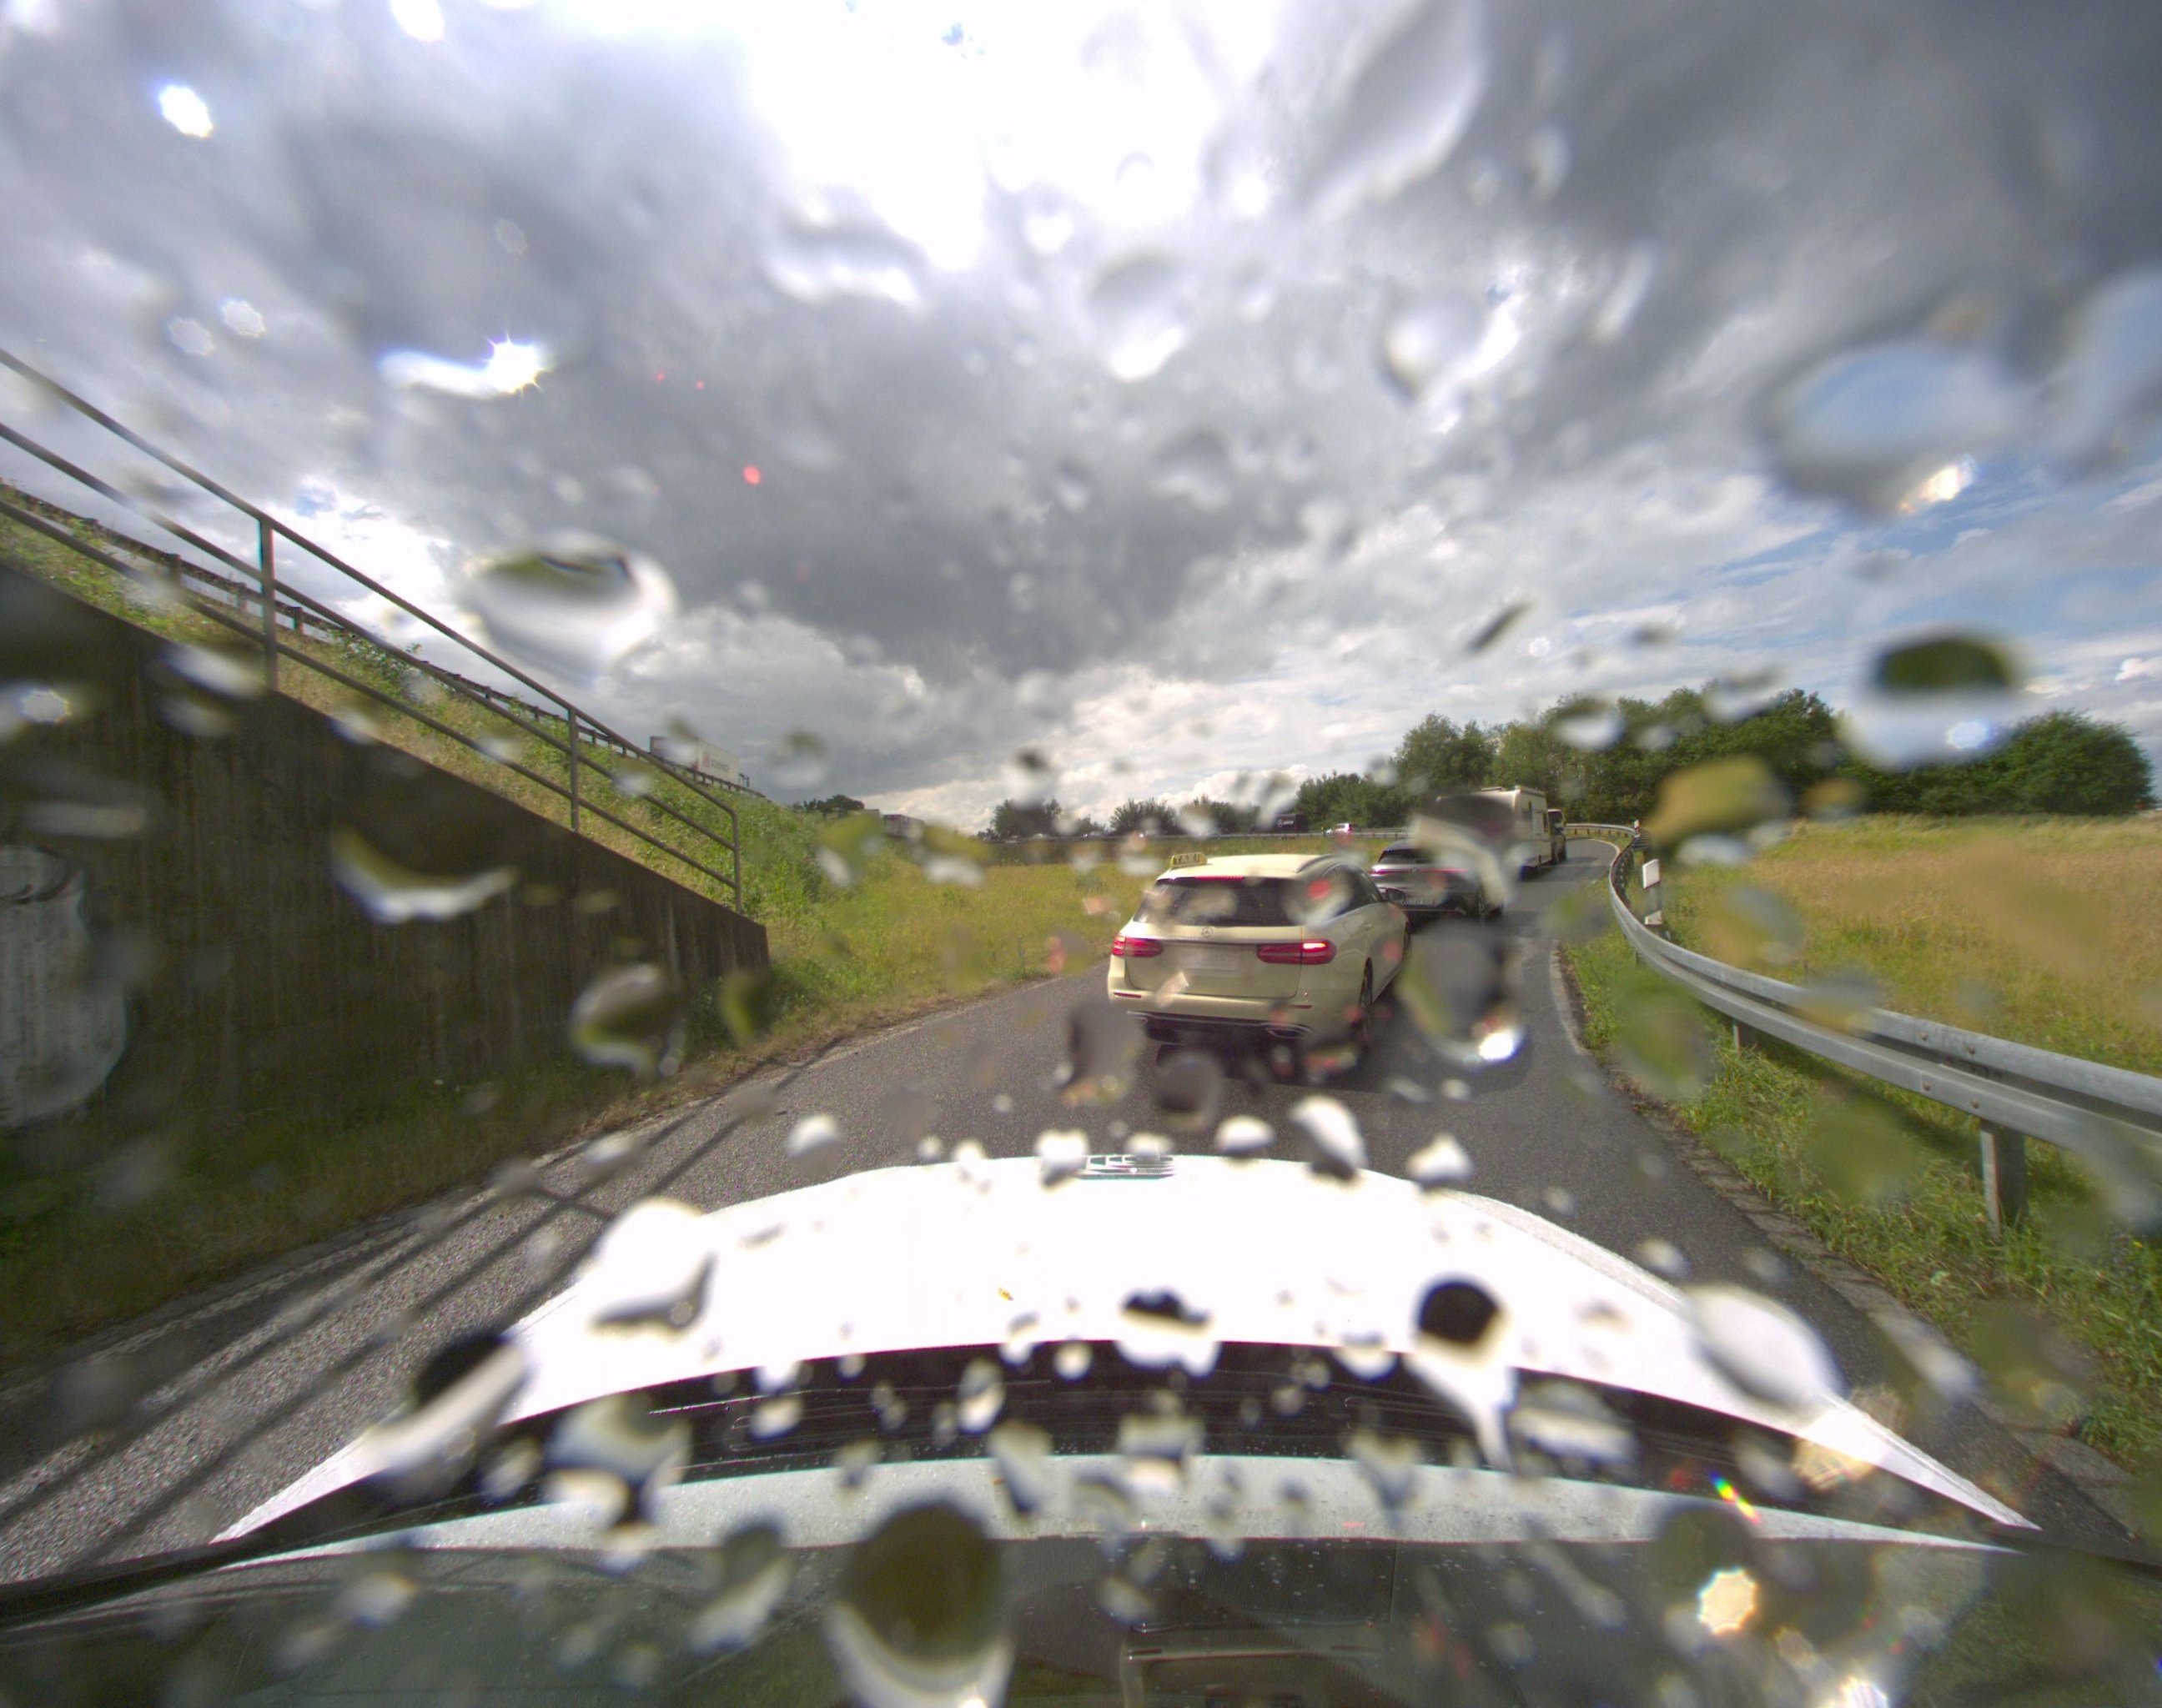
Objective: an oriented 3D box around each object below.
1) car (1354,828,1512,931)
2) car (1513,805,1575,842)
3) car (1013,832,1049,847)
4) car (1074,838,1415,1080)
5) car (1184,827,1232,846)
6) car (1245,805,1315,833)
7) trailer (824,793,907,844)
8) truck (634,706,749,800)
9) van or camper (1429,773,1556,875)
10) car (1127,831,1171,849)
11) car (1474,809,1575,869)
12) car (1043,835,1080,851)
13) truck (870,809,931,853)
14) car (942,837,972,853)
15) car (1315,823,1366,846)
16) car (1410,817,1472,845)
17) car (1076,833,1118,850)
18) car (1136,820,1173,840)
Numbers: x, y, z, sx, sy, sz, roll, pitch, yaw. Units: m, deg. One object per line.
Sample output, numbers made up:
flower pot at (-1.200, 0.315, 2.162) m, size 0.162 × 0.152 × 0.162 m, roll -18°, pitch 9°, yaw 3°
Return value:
car at (6.250, 0.402, 14.213) m, size 1.701 × 1.525 × 4.026 m, roll -4°, pitch -2°, yaw 34°
car at (26.706, -1.716, 47.175) m, size 1.978 × 1.861 × 5.079 m, roll -3°, pitch -1°, yaw 17°
car at (-7.104, -2.094, 116.021) m, size 4.992 × 1.861 × 2.013 m, roll -4°, pitch -1°, yaw 40°
car at (1.876, 0.644, 7.642) m, size 1.898 × 1.507 × 4.624 m, roll -1°, pitch 1°, yaw 27°
car at (14.716, -1.996, 94.488) m, size 4.992 × 1.861 × 2.013 m, roll -4°, pitch -1°, yaw 40°
car at (21.251, -3.687, 87.362) m, size 2.888 × 2.595 × 6.906 m, roll -3°, pitch 1°, yaw -37°
trailer at (-24.084, -3.770, 92.861) m, size 4.401 × 3.956 × 20.203 m, roll -2°, pitch -2°, yaw -1°
truck at (-22.490, -5.684, 47.691) m, size 3.177 × 3.967 × 9.214 m, roll -1°, pitch -3°, yaw -6°
van or camper at (12.823, -0.821, 25.100) m, size 2.407 × 2.729 × 6.039 m, roll -2°, pitch -1°, yaw 37°
car at (8.318, -1.730, 99.861) m, size 4.992 × 1.861 × 2.013 m, roll -4°, pitch -1°, yaw 32°
car at (16.366, -0.600, 29.866) m, size 2.404 × 1.925 × 5.798 m, roll -2°, pitch 1°, yaw 37°
car at (-2.591, -1.420, 109.617) m, size 4.455 × 1.861 × 2.011 m, roll -3°, pitch -1°, yaw 24°
truck at (-24.520, -2.909, 112.335) m, size 4.448 × 4.504 × 19.361 m, roll -2°, pitch -3°, yaw -1°
car at (-16.827, -1.210, 110.749) m, size 3.983 × 2.014 × 1.822 m, roll -1°, pitch -3°, yaw -7°
car at (25.427, -1.885, 79.942) m, size 2.002 × 1.861 × 5.020 m, roll -3°, pitch -1°, yaw -22°
car at (29.024, -1.817, 65.841) m, size 1.995 × 1.861 × 5.036 m, roll -3°, pitch -1°, yaw -12°
car at (2.042, -1.537, 104.194) m, size 4.992 × 1.861 × 2.013 m, roll -4°, pitch -1°, yaw 32°
car at (8.967, -2.945, 99.804) m, size 3.948 × 2.014 × 2.012 m, roll -5°, pitch -6°, yaw 35°
